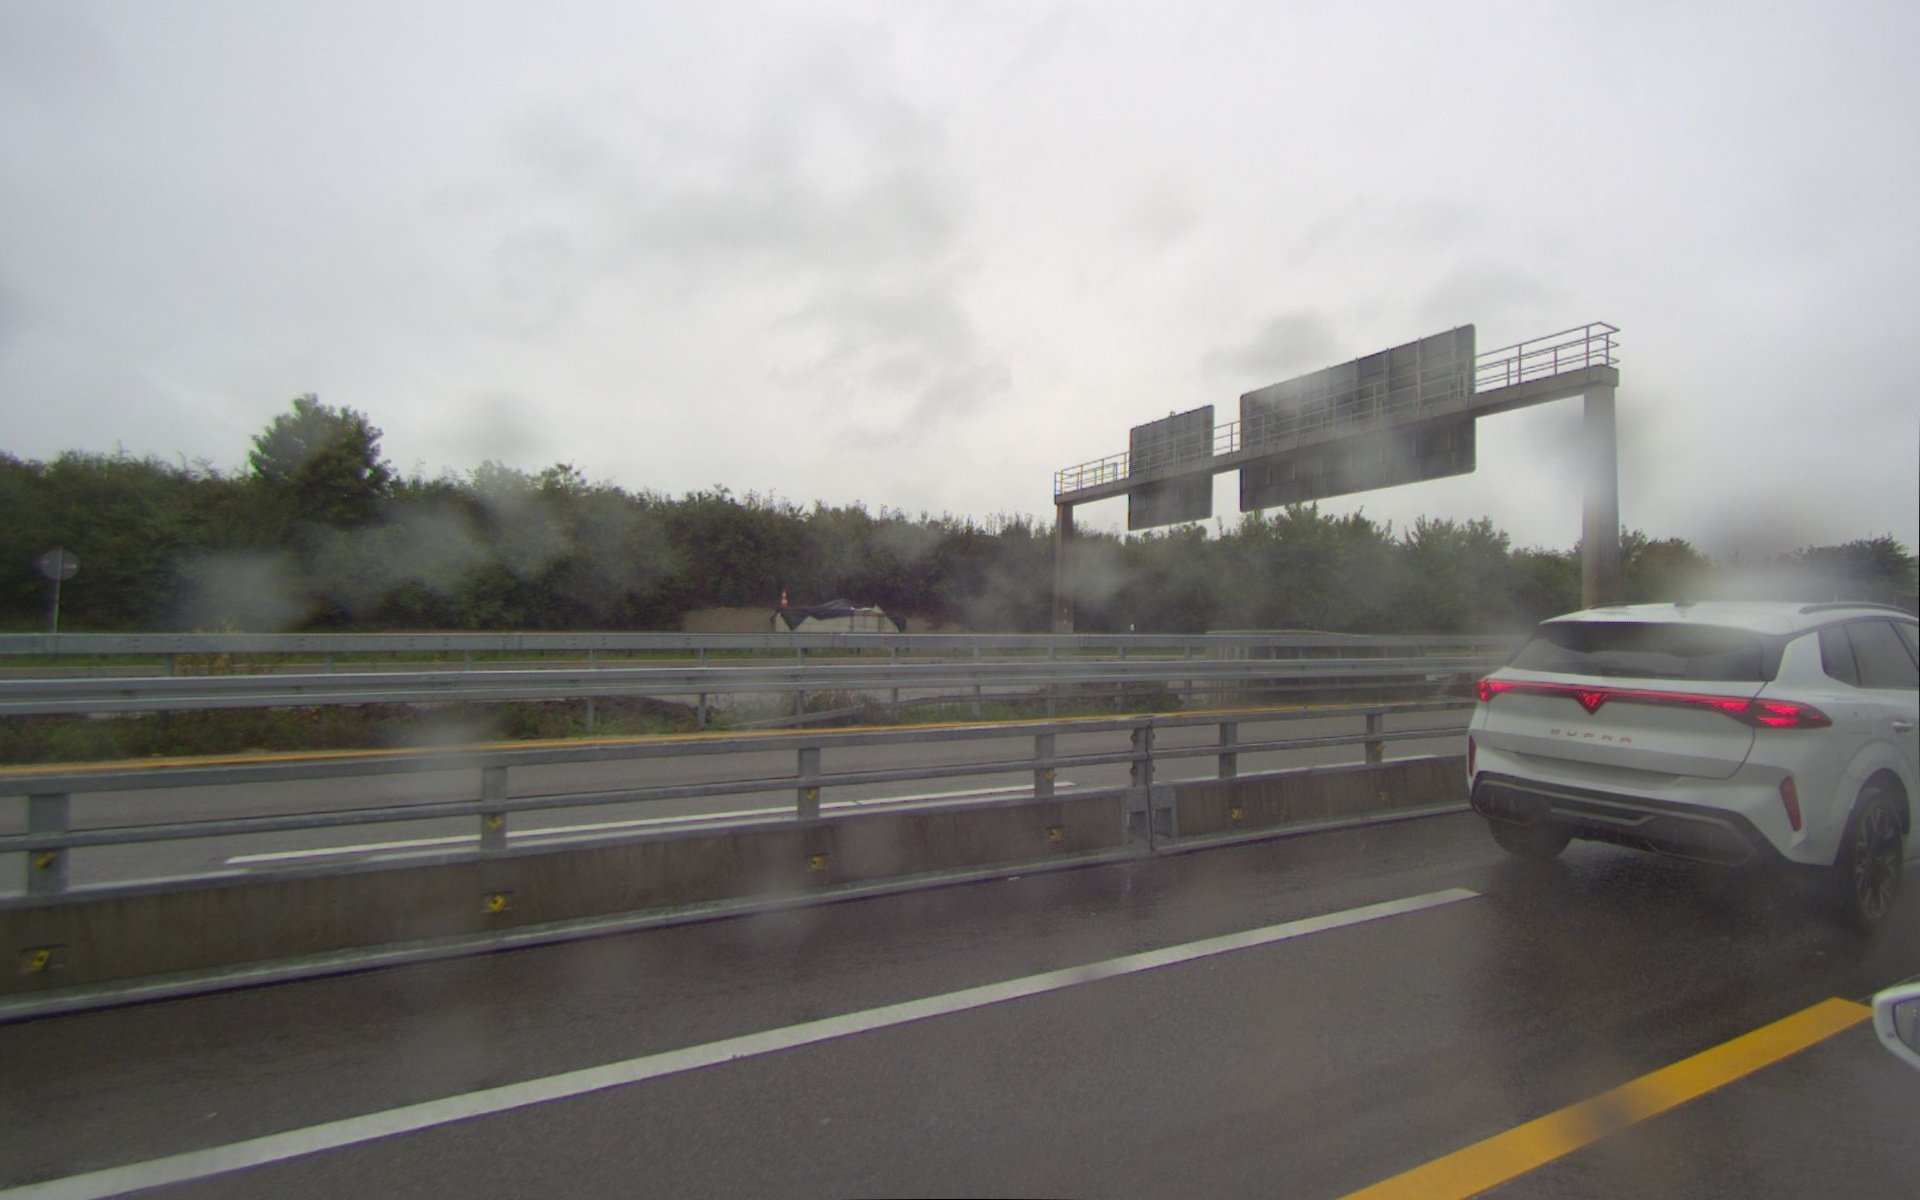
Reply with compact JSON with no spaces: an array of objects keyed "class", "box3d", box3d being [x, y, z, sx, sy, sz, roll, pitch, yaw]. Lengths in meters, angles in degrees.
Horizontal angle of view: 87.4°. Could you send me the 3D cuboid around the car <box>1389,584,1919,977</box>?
[{"class":"car","box3d":[5.069,0.794,6.243,4.740,1.639,1.984,1,0,-30]}]
